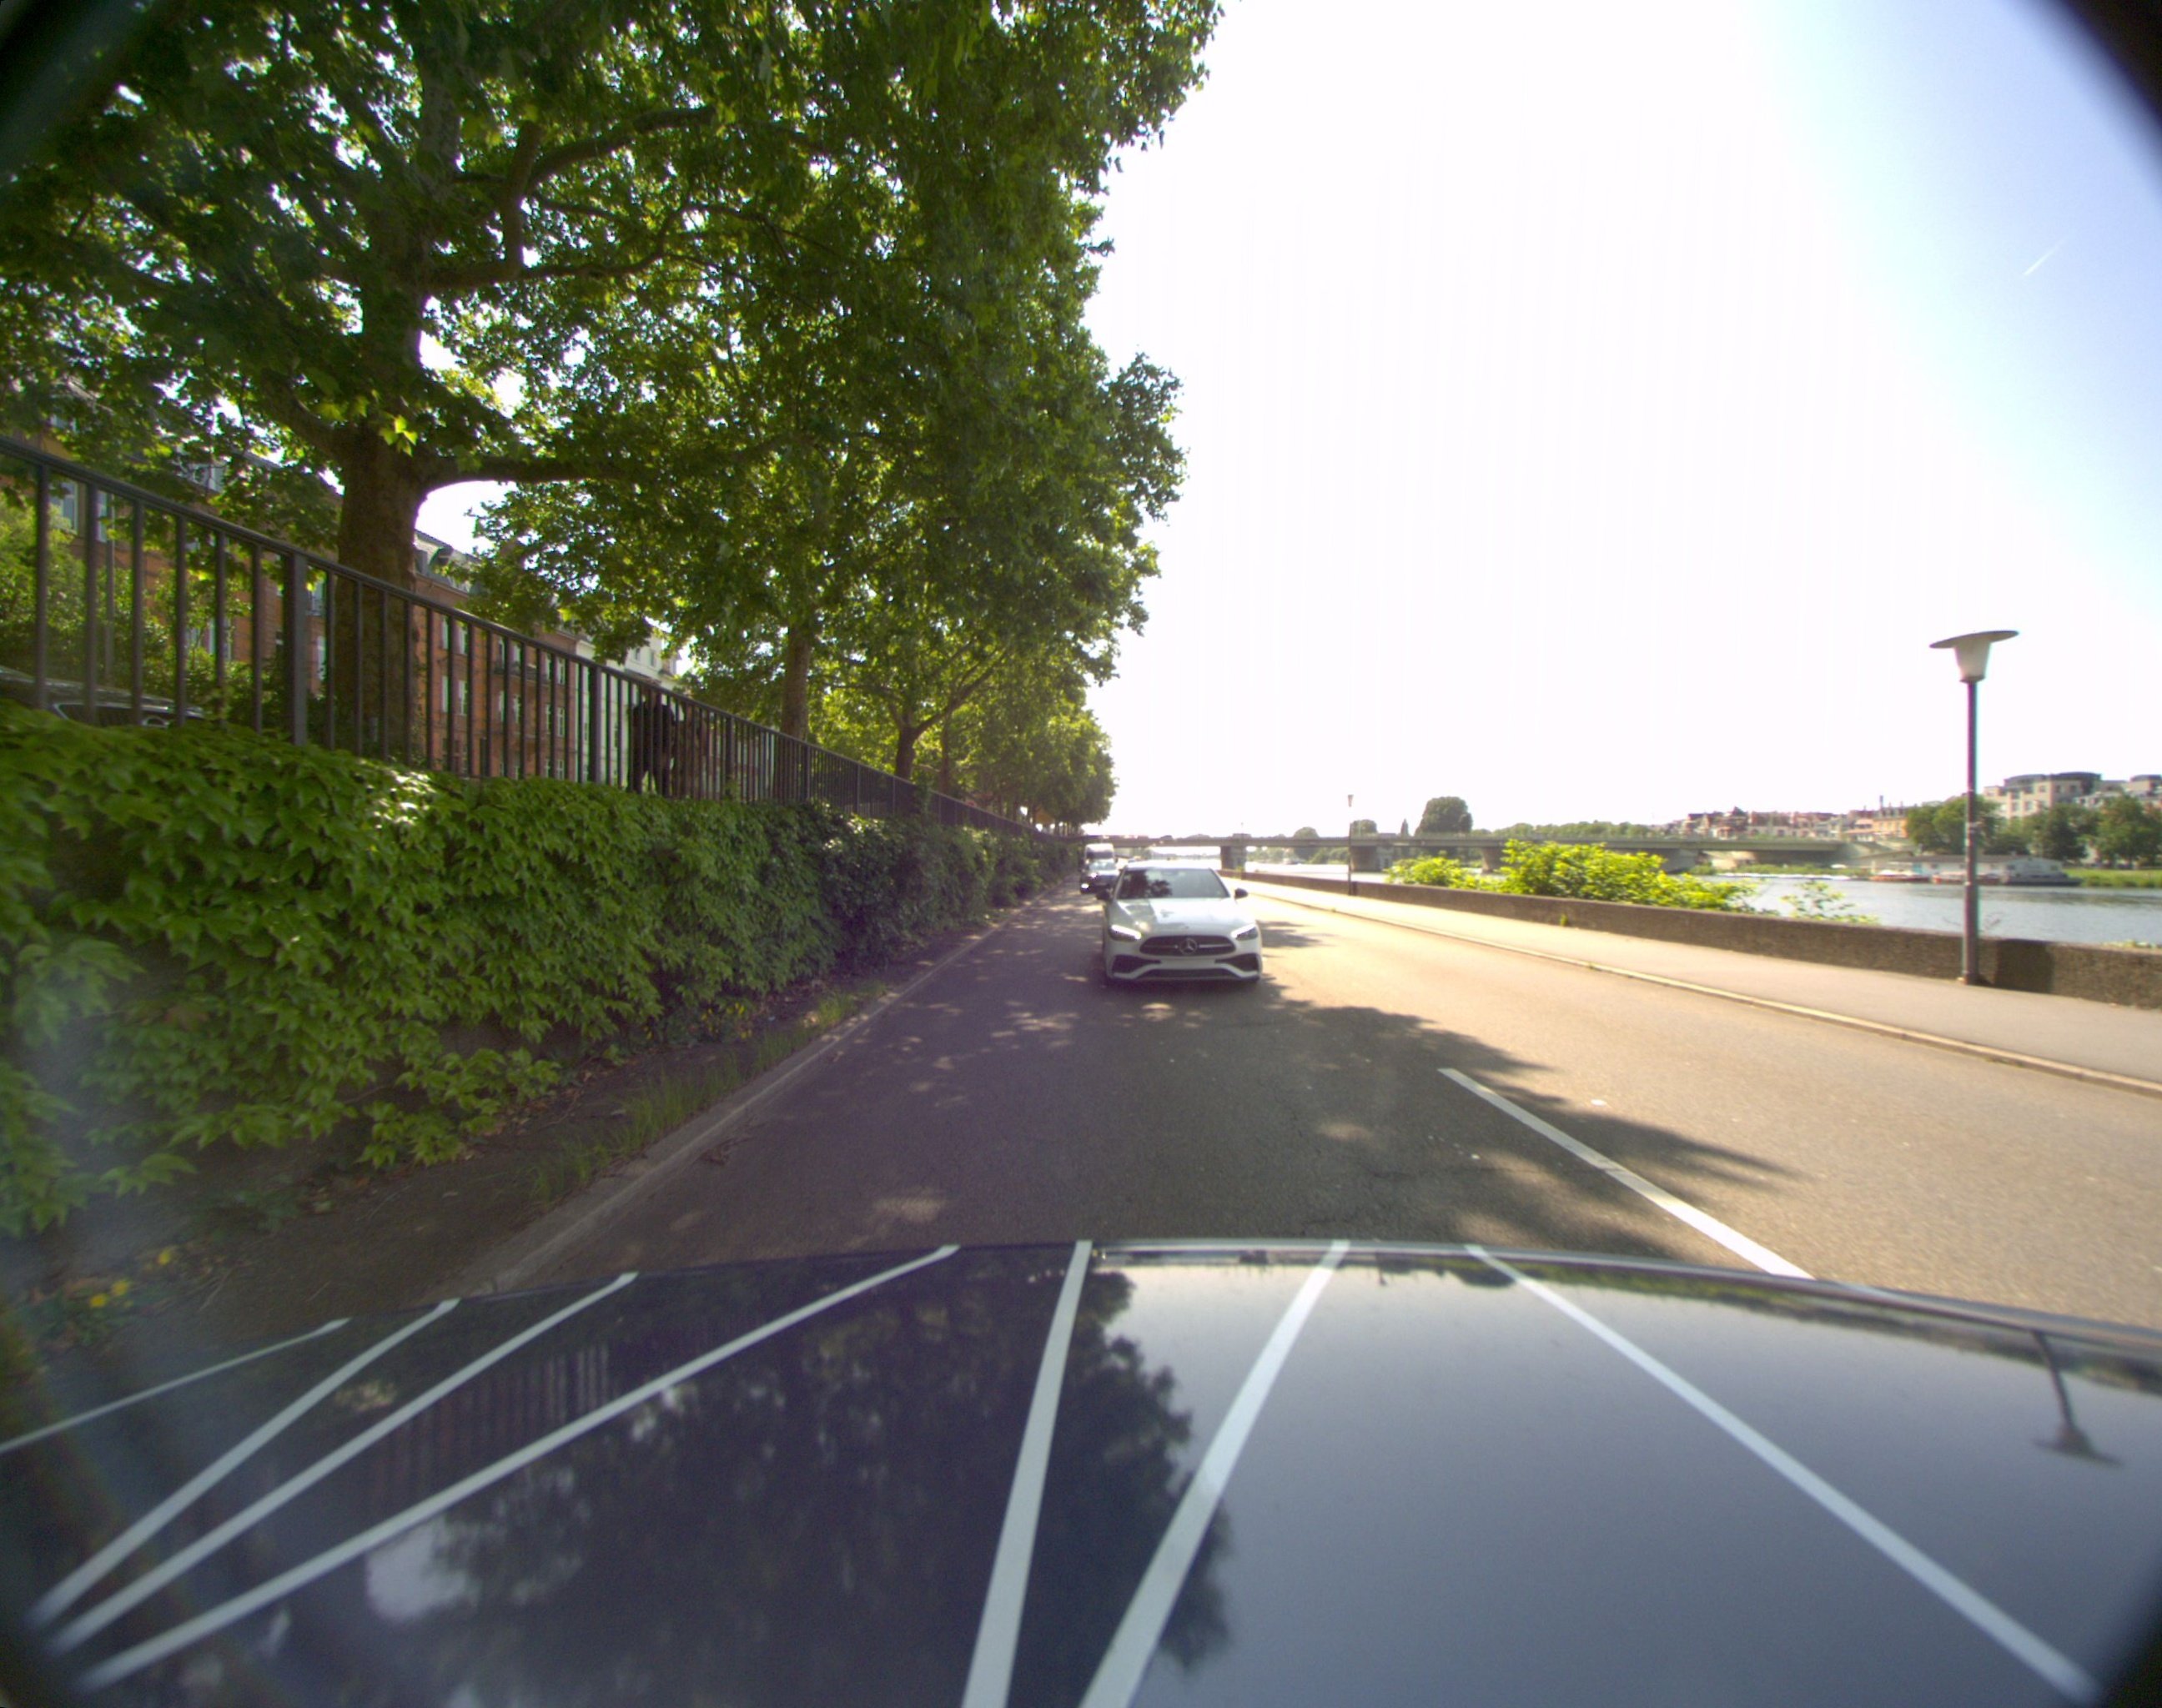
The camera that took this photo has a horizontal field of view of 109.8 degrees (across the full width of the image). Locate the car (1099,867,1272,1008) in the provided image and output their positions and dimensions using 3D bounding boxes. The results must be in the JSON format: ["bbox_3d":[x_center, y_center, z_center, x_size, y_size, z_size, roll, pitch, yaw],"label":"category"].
[{"bbox_3d":[1.179,0.939,10.413,1.830,1.411,4.553,-1,0,1],"label":"car"}]

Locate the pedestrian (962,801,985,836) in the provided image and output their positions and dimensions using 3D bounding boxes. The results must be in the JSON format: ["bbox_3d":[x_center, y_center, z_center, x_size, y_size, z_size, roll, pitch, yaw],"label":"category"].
[{"bbox_3d":[-3.905,-1.288,27.685,0.713,1.236,0.742,0,0,1],"label":"pedestrian"}]

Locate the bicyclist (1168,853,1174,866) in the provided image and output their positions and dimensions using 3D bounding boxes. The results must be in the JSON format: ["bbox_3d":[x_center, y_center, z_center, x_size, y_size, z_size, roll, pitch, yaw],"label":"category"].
[{"bbox_3d":[11.085,0.674,93.531,0.663,1.692,0.975,0,0,1],"label":"bicyclist"}]

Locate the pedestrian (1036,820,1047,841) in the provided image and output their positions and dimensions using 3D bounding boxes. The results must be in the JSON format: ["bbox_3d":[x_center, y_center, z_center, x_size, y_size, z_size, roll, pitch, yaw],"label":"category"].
[{"bbox_3d":[-3.084,-1.841,59.452,0.738,1.582,0.811,1,0,1],"label":"pedestrian"}]

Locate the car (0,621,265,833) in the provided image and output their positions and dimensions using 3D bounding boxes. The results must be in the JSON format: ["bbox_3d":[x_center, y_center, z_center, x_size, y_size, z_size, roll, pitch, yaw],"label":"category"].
[{"bbox_3d":[-7.705,-0.714,4.598,3.740,1.108,1.651,0,0,0],"label":"car"}]

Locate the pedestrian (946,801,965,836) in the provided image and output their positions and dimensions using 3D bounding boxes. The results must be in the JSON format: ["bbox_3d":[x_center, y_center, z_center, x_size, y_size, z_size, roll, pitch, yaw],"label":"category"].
[{"bbox_3d":[-4.619,-1.302,27.953,0.577,1.236,0.691,0,1,1],"label":"pedestrian"}]

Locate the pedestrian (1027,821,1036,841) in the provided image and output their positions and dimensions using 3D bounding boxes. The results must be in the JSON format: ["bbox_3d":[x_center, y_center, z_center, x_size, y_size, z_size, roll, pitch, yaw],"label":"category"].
[{"bbox_3d":[-3.897,-1.813,59.811,0.666,1.582,0.651,1,1,1],"label":"pedestrian"}]

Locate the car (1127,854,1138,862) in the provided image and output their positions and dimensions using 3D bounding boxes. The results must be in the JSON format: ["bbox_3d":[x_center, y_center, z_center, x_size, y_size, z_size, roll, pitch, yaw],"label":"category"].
[{"bbox_3d":[8.925,0.701,131.957,1.676,1.433,3.901,1,0,1],"label":"car"}]

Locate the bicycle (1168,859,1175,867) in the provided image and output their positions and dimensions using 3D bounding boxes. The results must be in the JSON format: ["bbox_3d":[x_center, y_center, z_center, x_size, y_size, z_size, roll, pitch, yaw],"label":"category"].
[{"bbox_3d":[11.094,1.102,93.467,0.654,0.977,1.944,0,0,1],"label":"bicycle"}]

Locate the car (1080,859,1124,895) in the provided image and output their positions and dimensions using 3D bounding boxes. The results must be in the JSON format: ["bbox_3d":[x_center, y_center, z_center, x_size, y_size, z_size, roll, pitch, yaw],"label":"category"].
[{"bbox_3d":[0.880,0.955,33.457,1.756,1.385,4.619,-2,0,0],"label":"car"}]

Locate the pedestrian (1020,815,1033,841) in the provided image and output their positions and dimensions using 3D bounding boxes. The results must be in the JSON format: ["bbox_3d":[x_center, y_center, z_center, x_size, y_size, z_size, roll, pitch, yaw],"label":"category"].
[{"bbox_3d":[-3.402,-1.601,47.302,0.738,1.582,0.811,1,0,1],"label":"pedestrian"}]

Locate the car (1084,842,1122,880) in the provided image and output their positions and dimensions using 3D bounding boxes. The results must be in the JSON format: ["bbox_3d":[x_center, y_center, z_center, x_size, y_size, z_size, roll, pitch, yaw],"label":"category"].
[{"bbox_3d":[1.399,0.438,50.905,2.351,2.428,6.208,0,0,0],"label":"car"}]

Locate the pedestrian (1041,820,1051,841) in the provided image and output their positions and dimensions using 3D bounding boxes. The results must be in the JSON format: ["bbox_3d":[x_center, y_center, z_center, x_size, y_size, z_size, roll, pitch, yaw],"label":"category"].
[{"bbox_3d":[-2.771,-1.848,60.303,0.666,1.582,0.765,1,1,1],"label":"pedestrian"}]

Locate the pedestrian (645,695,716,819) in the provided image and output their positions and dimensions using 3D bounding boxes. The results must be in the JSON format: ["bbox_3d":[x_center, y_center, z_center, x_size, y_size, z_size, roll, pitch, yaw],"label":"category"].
[{"bbox_3d":[-4.847,-1.151,9.223,0.586,1.411,0.589,0,1,-7],"label":"pedestrian"}]

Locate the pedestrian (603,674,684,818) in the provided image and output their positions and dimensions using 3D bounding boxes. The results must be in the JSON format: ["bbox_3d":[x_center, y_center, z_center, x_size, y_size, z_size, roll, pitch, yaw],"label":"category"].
[{"bbox_3d":[-5.256,-1.264,9.152,0.649,1.630,0.626,0,1,-7],"label":"pedestrian"}]
